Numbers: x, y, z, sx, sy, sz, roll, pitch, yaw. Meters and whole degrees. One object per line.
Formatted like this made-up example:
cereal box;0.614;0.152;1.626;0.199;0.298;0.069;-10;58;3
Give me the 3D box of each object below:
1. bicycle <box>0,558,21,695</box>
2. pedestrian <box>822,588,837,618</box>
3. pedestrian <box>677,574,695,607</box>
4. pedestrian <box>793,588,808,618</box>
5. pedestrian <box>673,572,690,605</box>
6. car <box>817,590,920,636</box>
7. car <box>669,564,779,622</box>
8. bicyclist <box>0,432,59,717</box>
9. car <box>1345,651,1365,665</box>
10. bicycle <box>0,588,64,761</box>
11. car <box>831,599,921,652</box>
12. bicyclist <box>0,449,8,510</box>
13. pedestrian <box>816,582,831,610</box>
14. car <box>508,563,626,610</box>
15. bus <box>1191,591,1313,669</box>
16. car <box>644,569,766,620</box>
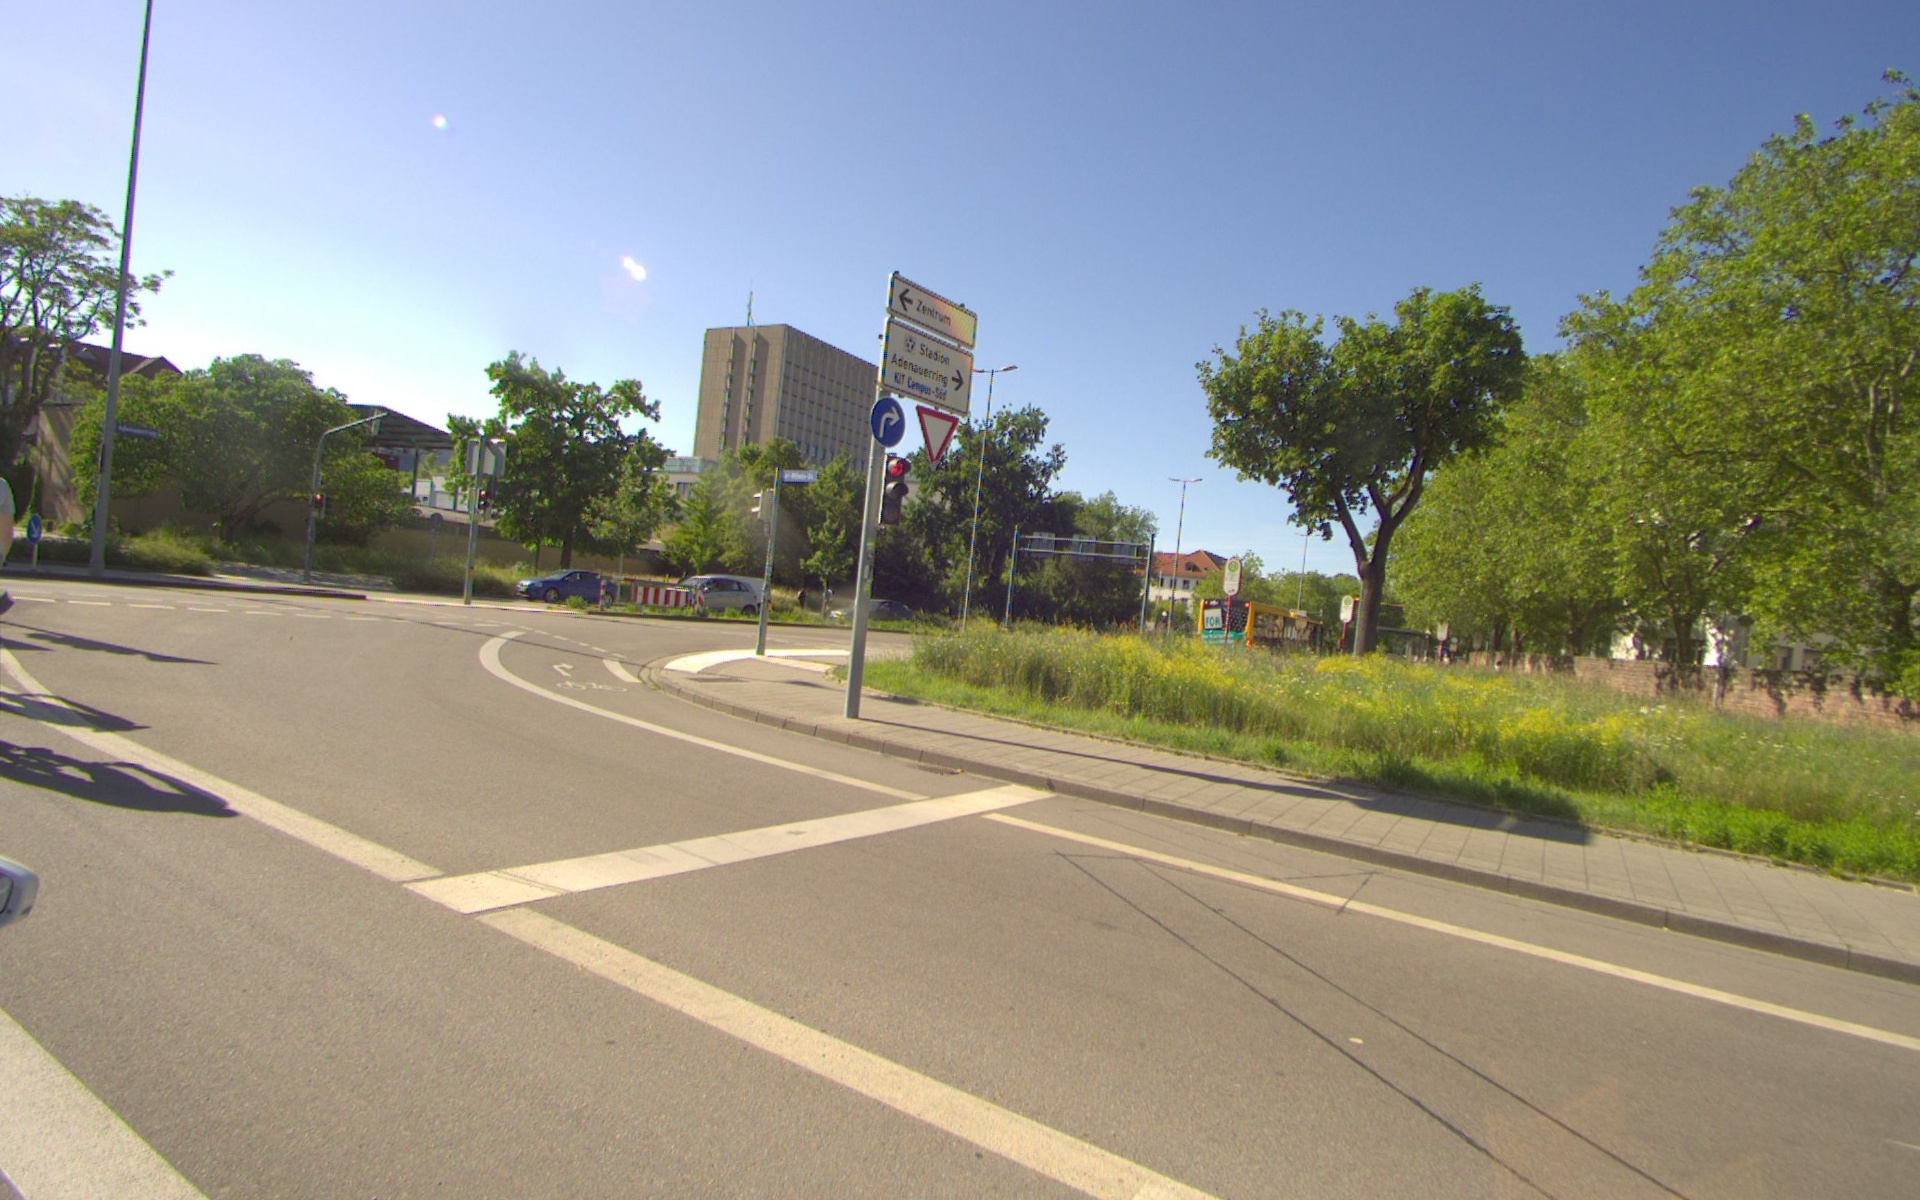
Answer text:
bicycle;-8.200;0.088;7.770;1.935;1.014;0.661;6;-1;26
pedestrian;-8.370;0.187;64.494;0.519;1.801;0.561;7;1;35
pedestrian;-14.785;-0.518;54.231;0.519;1.716;0.561;7;1;35
pedestrian;-9.941;0.180;62.859;0.519;1.801;0.561;7;1;35
pedestrian;-15.278;-0.640;55.205;0.519;1.716;0.561;7;1;35
car;-4.035;0.612;45.134;1.968;1.604;4.736;6;0;33
car;-11.365;-0.293;48.701;1.970;2.131;4.882;6;-2;37
bicyclist;-6.218;-0.206;6.086;1.000;1.688;0.752;6;-1;33
car;48.536;7.143;123.576;1.812;1.405;4.066;4;-2;27
bicycle;-6.292;0.356;6.086;1.946;0.906;0.741;6;-2;33
car;-4.387;1.395;53.152;1.969;2.186;4.783;6;-2;35
bicyclist;-8.134;-0.373;7.775;1.048;1.759;0.647;7;-1;26
pedestrian;-8.820;-0.279;64.906;0.519;1.716;0.561;7;1;35
car;-16.089;-0.515;41.335;1.716;1.453;4.164;7;0;37
bus;14.282;1.578;48.439;2.751;2.662;10.099;6;-2;32
car;-9.430;-0.193;37.425;1.840;1.426;4.046;6;0;38
